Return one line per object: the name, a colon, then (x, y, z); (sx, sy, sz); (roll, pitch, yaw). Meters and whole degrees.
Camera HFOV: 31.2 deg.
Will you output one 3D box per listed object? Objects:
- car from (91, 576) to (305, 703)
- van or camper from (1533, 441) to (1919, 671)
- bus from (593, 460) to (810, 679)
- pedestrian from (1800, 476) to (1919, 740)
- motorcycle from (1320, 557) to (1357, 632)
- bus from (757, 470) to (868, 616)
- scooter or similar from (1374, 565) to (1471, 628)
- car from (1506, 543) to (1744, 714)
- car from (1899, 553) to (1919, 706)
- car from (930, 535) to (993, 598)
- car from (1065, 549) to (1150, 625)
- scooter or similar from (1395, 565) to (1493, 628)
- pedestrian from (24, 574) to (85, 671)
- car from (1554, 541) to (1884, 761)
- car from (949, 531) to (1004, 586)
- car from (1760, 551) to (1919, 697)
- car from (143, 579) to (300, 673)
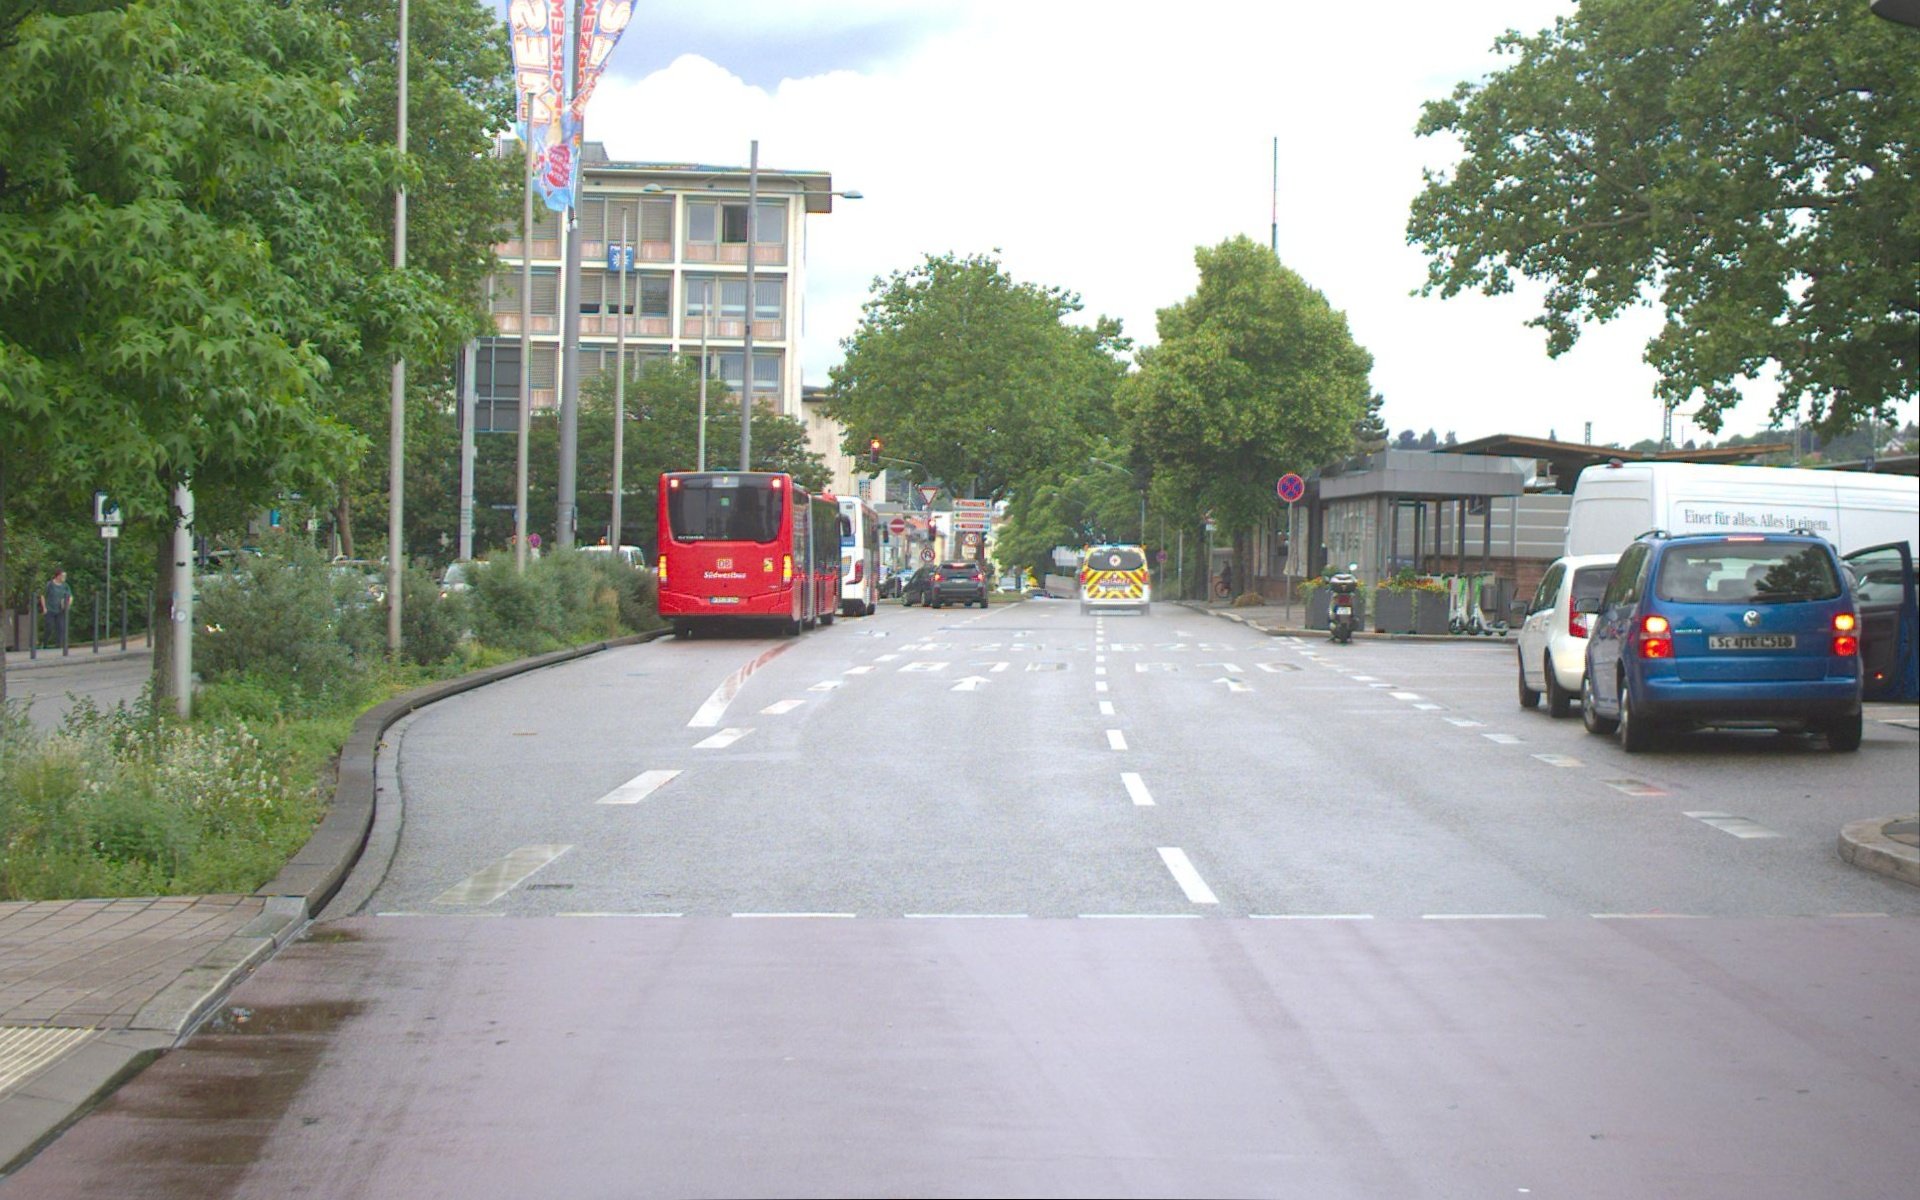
car: (-9.323, 0.449, 42.351); (1.747, 1.425, 3.953); (-1, 1, 0)
van or camper: (10.413, -0.598, 43.779); (5.946, 2.753, 2.199); (-2, 1, -27)
bus: (-5.019, -0.636, 69.022); (3.544, 3.966, 11.172); (-1, 1, -1)
pedestrian: (7.135, 0.053, 26.848); (0.831, 2.007, 0.889); (-1, 1, -5)
motorcycle: (6.667, -0.104, 60.667); (0.595, 1.284, 1.953); (-1, 1, 5)
bus: (-4.046, -1.551, 94.817); (2.805, 3.734, 10.446); (-1, 1, -2)
scooter or similar: (8.531, -0.069, 63.386); (2.145, 1.106, 0.427); (-2, 1, -39)
car: (6.197, 0.245, 32.390); (1.788, 1.517, 3.681); (0, 0, 4)
car: (11.131, 0.274, 32.748); (3.986, 1.438, 1.865); (0, 0, -27)
car: (0.039, -1.104, 114.041); (1.993, 2.007, 4.000); (-1, 1, 0)
car: (4.043, -0.380, 94.987); (1.993, 2.007, 5.062); (-1, 1, -1)
scooter or similar: (8.878, -0.076, 63.020); (2.145, 1.106, 0.443); (-2, 1, -39)
pedestrian: (-17.889, 0.438, 67.915); (0.842, 1.894, 0.953); (-2, 1, -36)
car: (5.738, 0.354, 26.434); (1.859, 1.564, 4.000); (0, 0, 3)
car: (0.598, -1.558, 129.558); (1.993, 2.007, 4.000); (-1, 1, 0)
car: (10.453, 0.228, 35.537); (3.986, 1.438, 1.865); (0, 0, -27)
car: (-12.209, 0.405, 57.056); (1.747, 1.425, 3.953); (-1, 1, 0)
